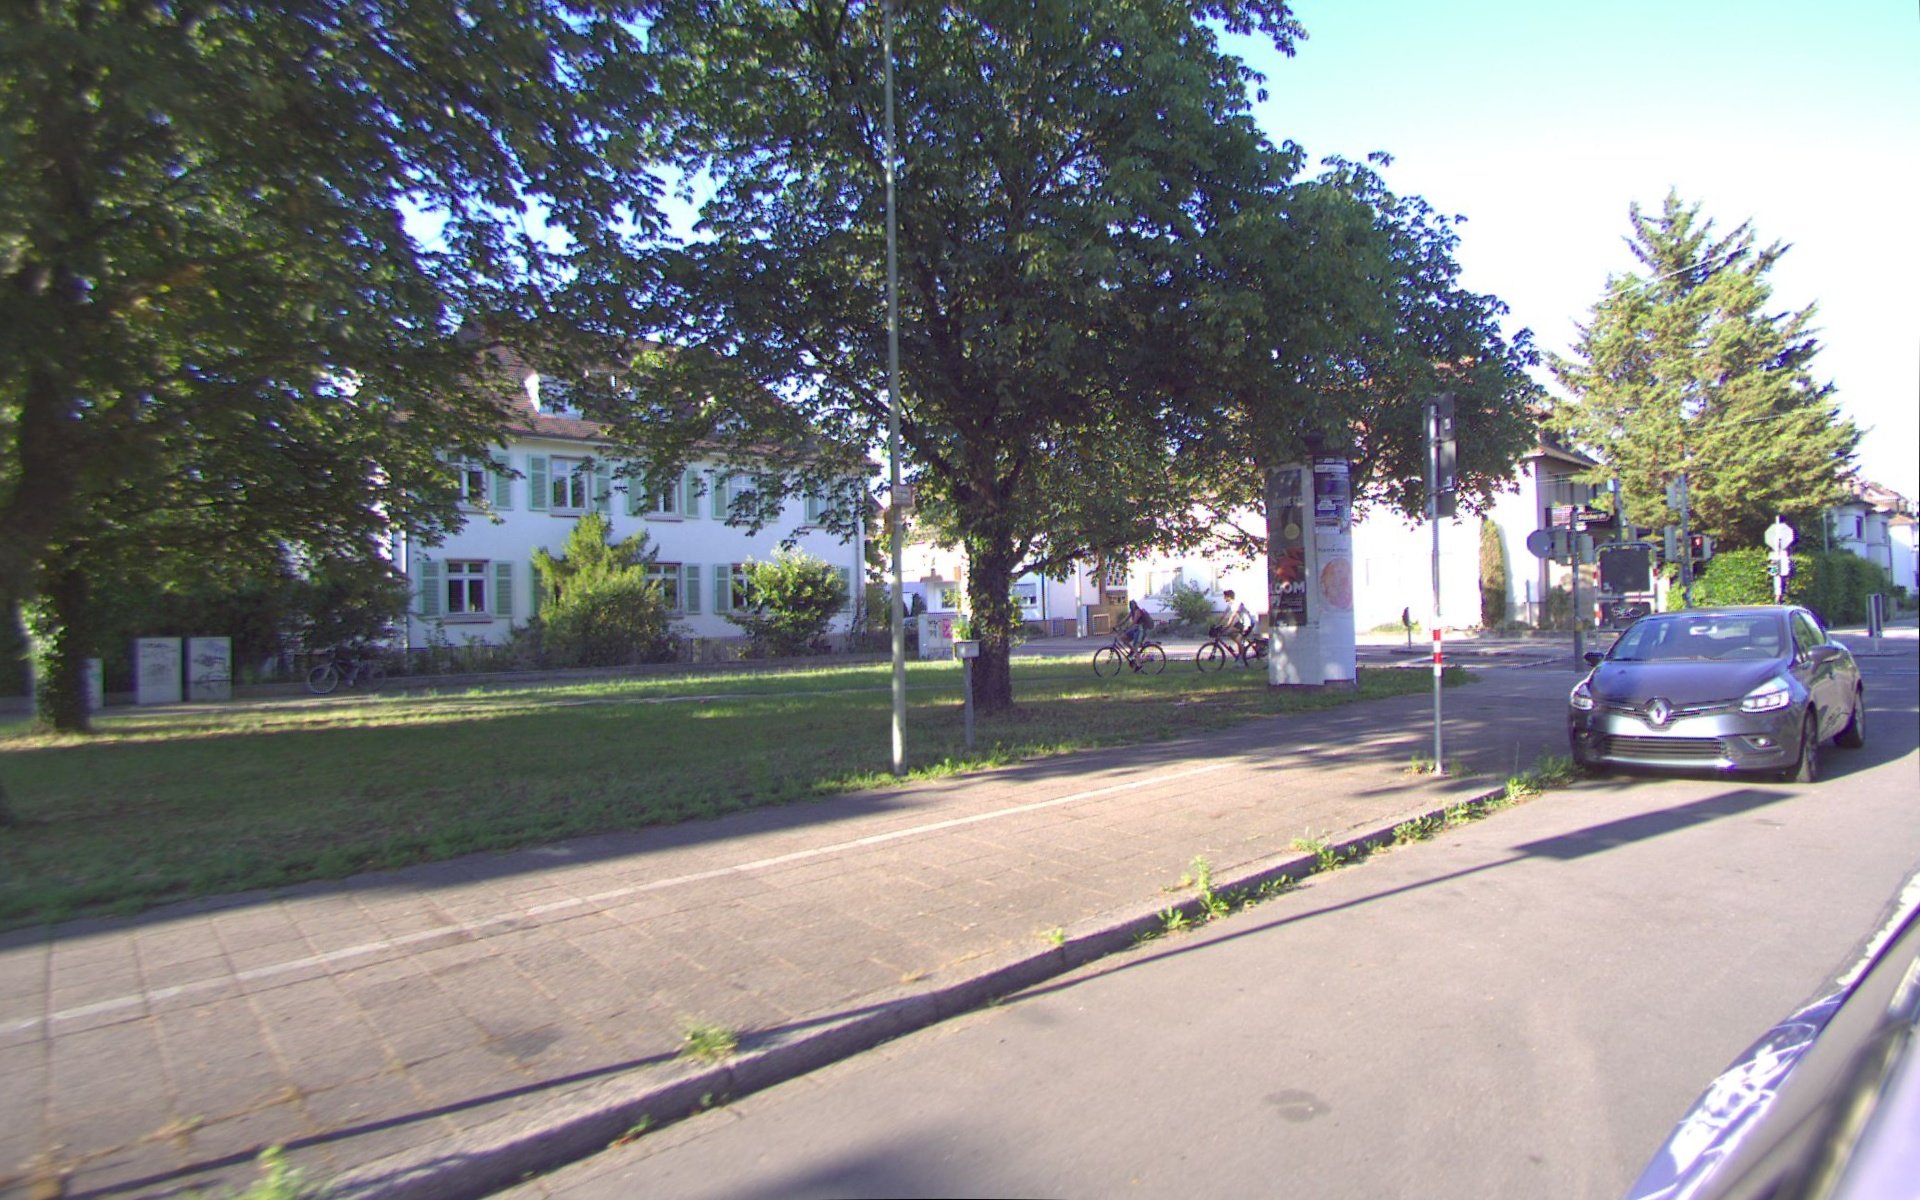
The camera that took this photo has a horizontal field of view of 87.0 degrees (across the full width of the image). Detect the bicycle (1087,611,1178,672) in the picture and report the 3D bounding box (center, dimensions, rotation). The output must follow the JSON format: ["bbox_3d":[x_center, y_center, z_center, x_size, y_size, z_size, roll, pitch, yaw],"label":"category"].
[{"bbox_3d":[3.893,0.927,22.784,1.923,1.199,0.493,-4,-2,-18],"label":"bicycle"}]

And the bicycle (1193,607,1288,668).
[{"bbox_3d":[6.225,0.832,22.505,1.870,1.199,0.574,-4,-3,2],"label":"bicycle"}]

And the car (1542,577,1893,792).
[{"bbox_3d":[7.397,0.655,9.696,4.463,1.530,1.727,-2,-2,-41],"label":"car"}]

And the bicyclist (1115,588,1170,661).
[{"bbox_3d":[4.133,0.567,22.907,0.875,1.582,0.715,-3,-3,-20],"label":"bicyclist"}]

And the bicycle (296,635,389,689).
[{"bbox_3d":[-15.330,1.520,25.155,1.920,1.254,0.450,-1,-2,-41],"label":"bicycle"}]

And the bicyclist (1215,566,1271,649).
[{"bbox_3d":[6.295,0.170,22.553,0.877,1.754,0.817,-4,-2,1],"label":"bicyclist"}]
